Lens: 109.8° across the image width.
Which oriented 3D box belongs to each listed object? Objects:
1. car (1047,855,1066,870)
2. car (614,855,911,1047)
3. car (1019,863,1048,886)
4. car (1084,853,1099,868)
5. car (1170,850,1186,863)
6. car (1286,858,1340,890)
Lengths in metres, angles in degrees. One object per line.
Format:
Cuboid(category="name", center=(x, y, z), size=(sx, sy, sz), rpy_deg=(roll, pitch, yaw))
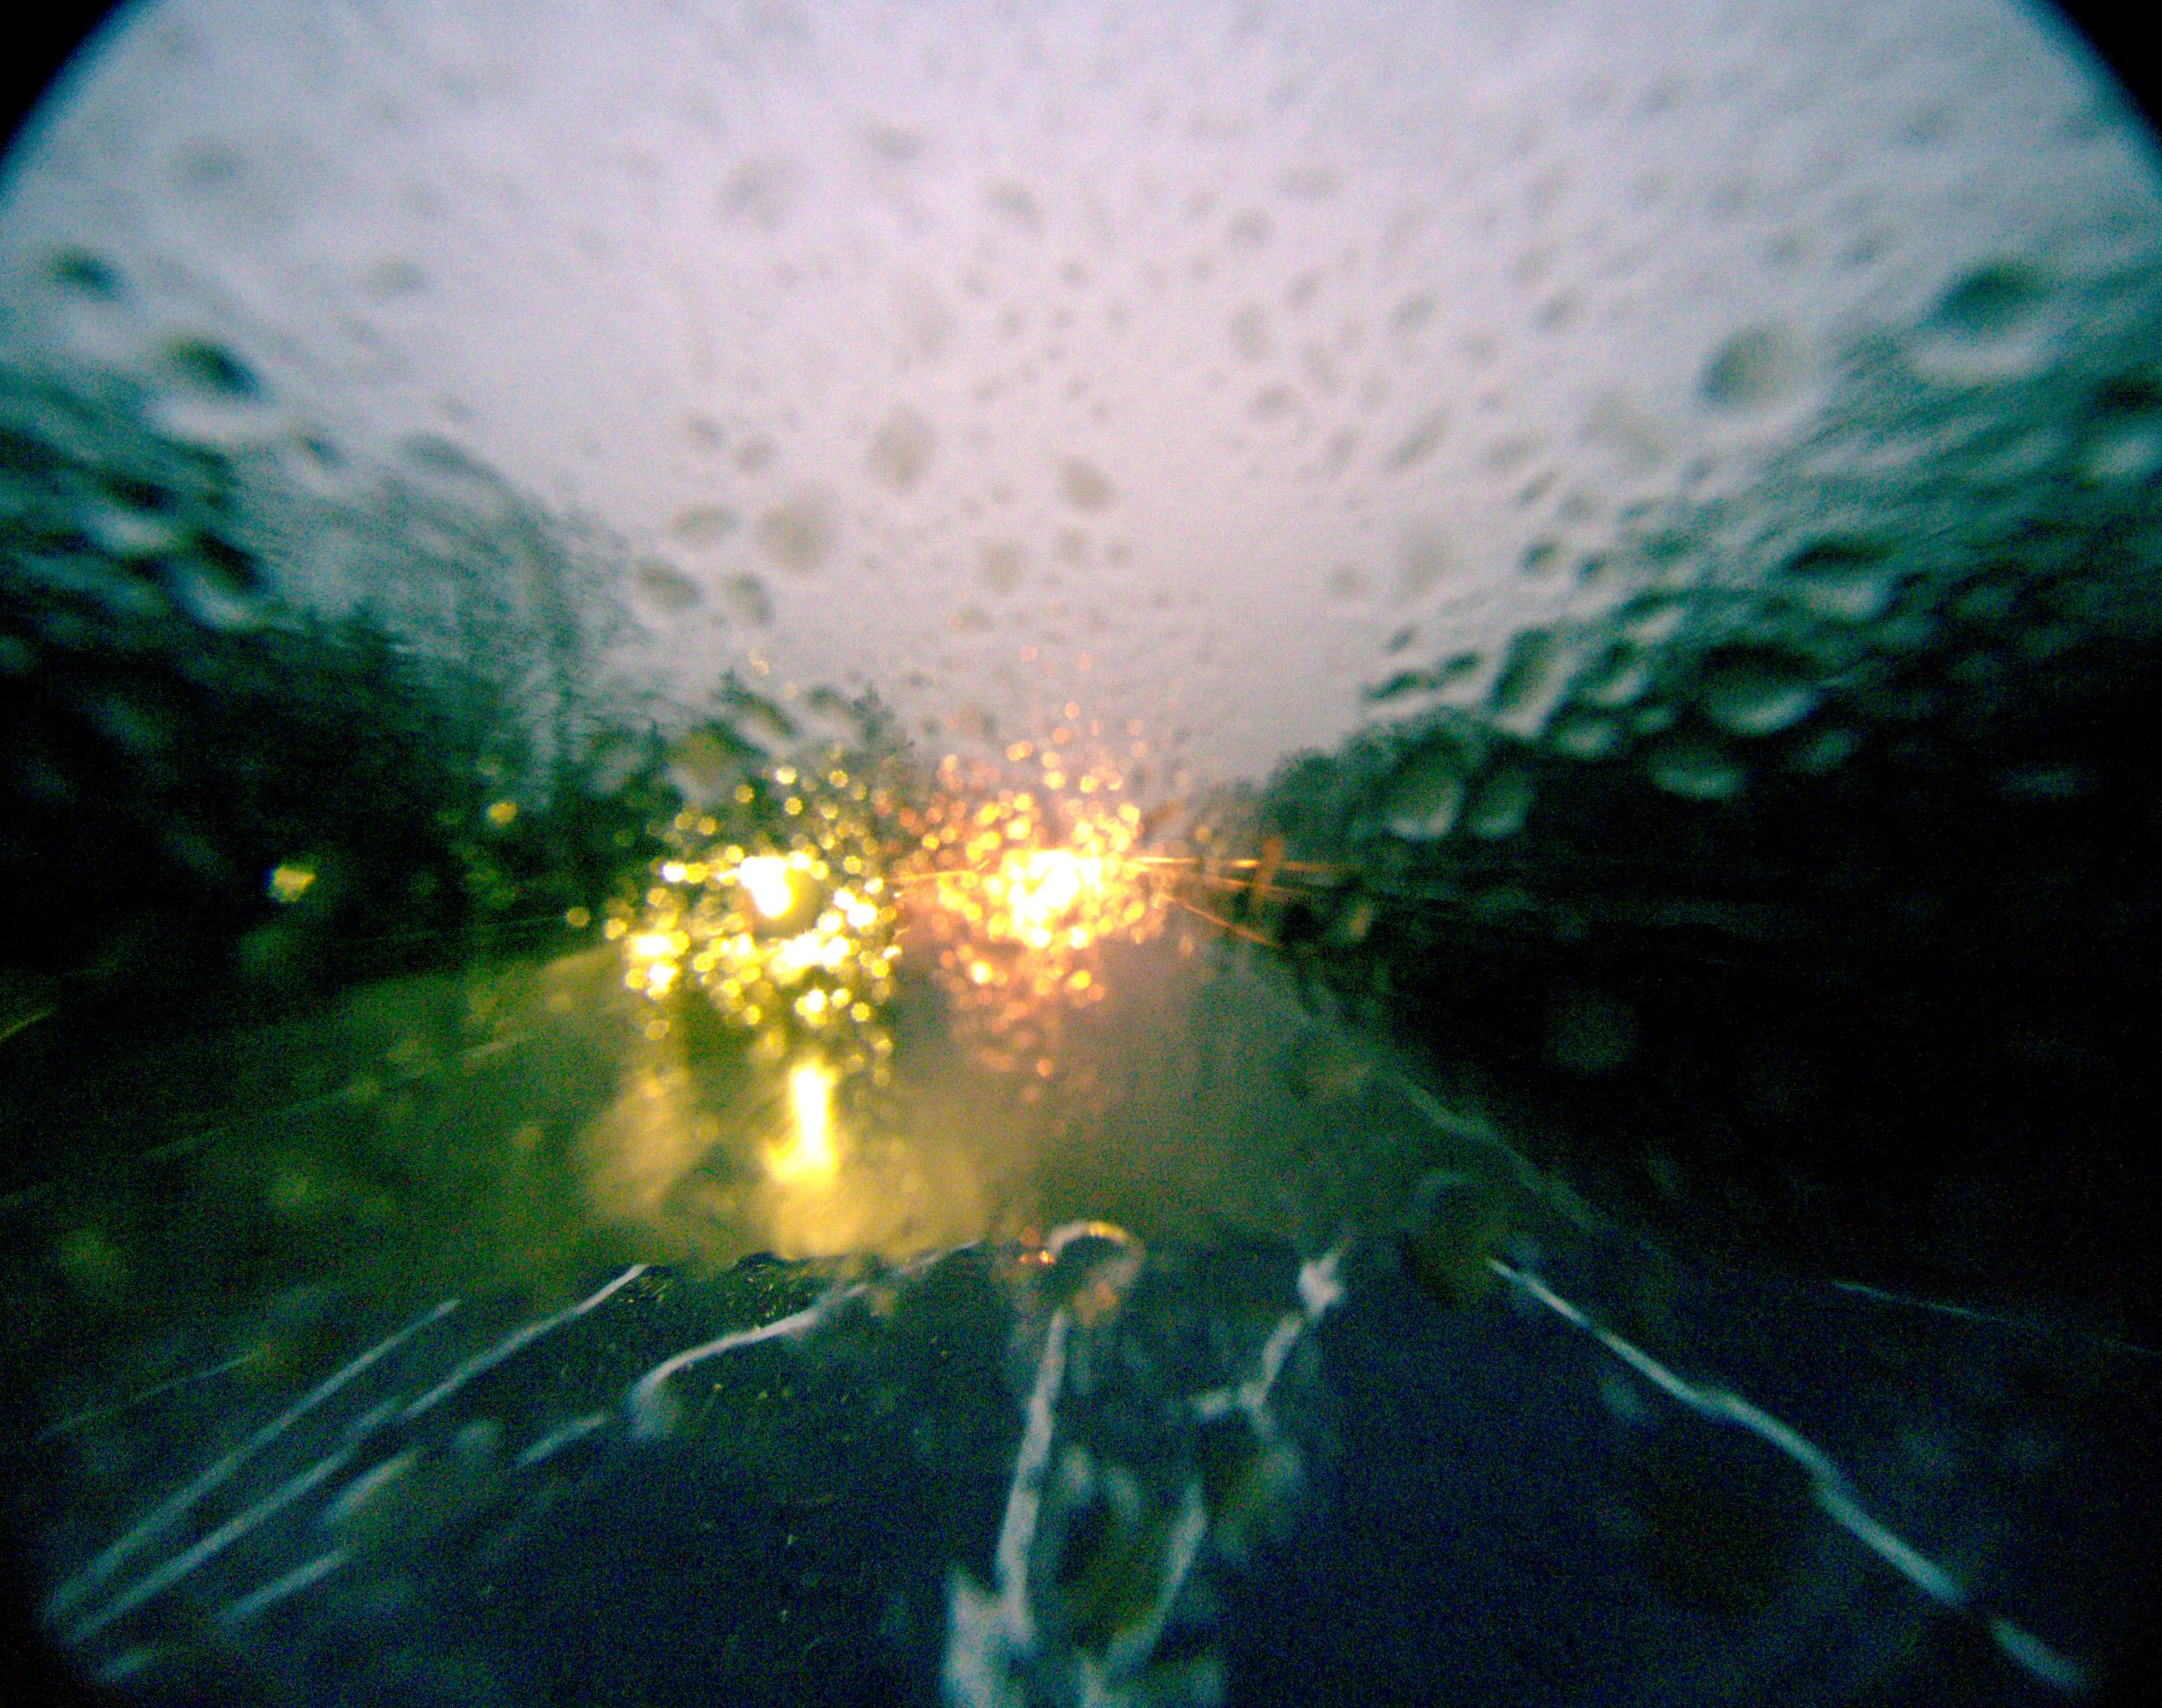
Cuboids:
Cuboid(category="car", center=(-2.522, 0.890, 79.189), size=(1.741, 1.441, 4.000), rpy_deg=(-2, 1, 1))
Cuboid(category="car", center=(-3.561, 0.956, 9.422), size=(1.929, 1.781, 3.940), rpy_deg=(-2, 1, 0))
Cuboid(category="car", center=(-3.125, 1.361, 50.545), size=(1.603, 1.358, 3.305), rpy_deg=(-3, 0, 1))
Cuboid(category="car", center=(1.504, 0.906, 106.985), size=(1.767, 1.922, 3.998), rpy_deg=(-2, 1, -3))
Cuboid(category="car", center=(13.984, 0.313, 110.010), size=(1.761, 1.824, 3.912), rpy_deg=(-2, 1, 1))
Cuboid(category="car", center=(9.381, 0.786, 30.915), size=(1.276, 1.162, 2.881), rpy_deg=(-2, 1, 0))
